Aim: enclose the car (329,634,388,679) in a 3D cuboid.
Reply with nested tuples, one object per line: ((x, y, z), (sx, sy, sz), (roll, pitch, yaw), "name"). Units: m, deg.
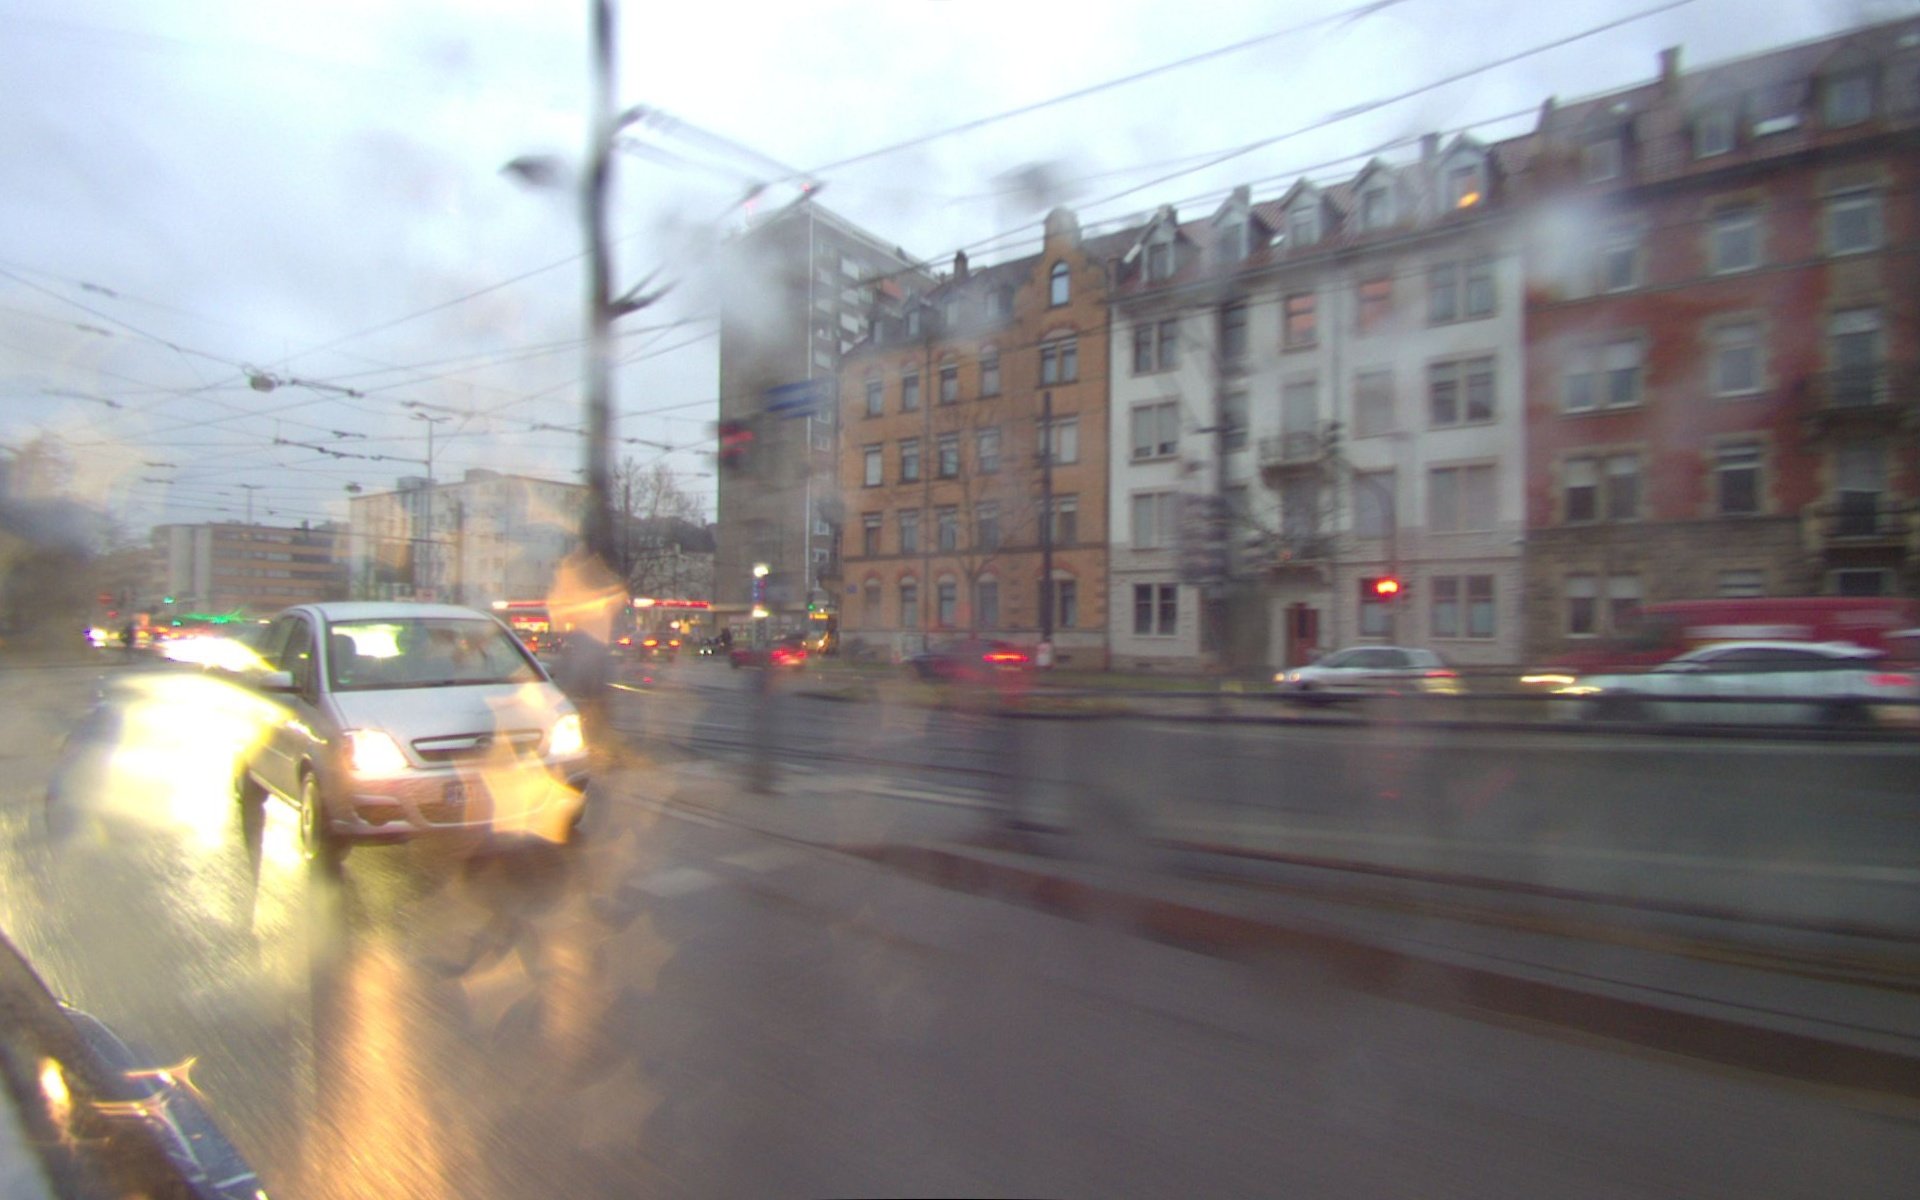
((-24.978, 2.337, 42.137), (1.789, 1.756, 4.199), (2, -3, -27), "car")

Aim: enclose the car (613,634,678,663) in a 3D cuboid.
((-15.319, 2.338, 49.161), (1.658, 1.364, 4.398), (2, -3, -36), "car")

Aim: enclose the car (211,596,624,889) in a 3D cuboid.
((-4.183, 0.828, 7.466), (1.626, 1.560, 4.113), (2, -3, -44), "car")

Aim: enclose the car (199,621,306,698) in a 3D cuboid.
((-15.665, 1.311, 22.566), (1.724, 1.556, 4.011), (3, -4, -33), "car")

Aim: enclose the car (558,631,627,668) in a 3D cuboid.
((-16.488, 2.189, 45.325), (1.658, 1.565, 4.130), (2, -3, -38), "car")

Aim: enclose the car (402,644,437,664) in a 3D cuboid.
((-41.602, 4.099, 77.847), (1.658, 1.468, 4.070), (2, -3, -39), "car")

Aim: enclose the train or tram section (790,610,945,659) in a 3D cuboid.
((-6.300, 2.417, 74.537), (3.154, 3.212, 16.154), (-1, -2, 28), "train or tram section")

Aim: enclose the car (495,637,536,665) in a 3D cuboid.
((-24.926, 2.843, 56.707), (1.467, 1.498, 3.160), (2, -3, -35), "car")

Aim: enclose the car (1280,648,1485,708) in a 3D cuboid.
((9.628, 1.744, 23.254), (4.083, 1.236, 1.521), (-2, -4, 39), "car")

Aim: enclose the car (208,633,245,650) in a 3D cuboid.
((-80.407, 4.596, 110.904), (4.526, 1.796, 1.944), (-2, -4, 37), "car")

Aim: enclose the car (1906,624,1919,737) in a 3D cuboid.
((18.305, 1.360, 16.497), (3.936, 1.955, 1.975), (-2, -4, 37), "car")

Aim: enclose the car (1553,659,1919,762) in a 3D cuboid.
((11.172, 1.529, 14.880), (4.080, 1.255, 1.522), (-2, -4, 37), "car")

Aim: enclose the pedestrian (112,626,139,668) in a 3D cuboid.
((-37.927, 2.129, 45.984), (0.564, 1.852, 0.685), (7, -7, -25), "pedestrian")

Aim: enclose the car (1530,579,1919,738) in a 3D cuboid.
((12.780, 0.955, 17.071), (5.258, 2.327, 1.974), (-2, -4, 38), "car")

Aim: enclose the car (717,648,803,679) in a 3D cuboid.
((-7.863, 2.456, 39.617), (1.580, 1.143, 3.794), (2, -3, -41), "car")

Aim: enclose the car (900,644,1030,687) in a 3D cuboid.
((0.123, 2.018, 31.775), (4.084, 1.236, 1.520), (-2, -4, 41), "car")

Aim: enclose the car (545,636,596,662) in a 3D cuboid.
((-21.771, 2.724, 56.517), (1.658, 1.402, 3.621), (2, -3, -38), "car")
